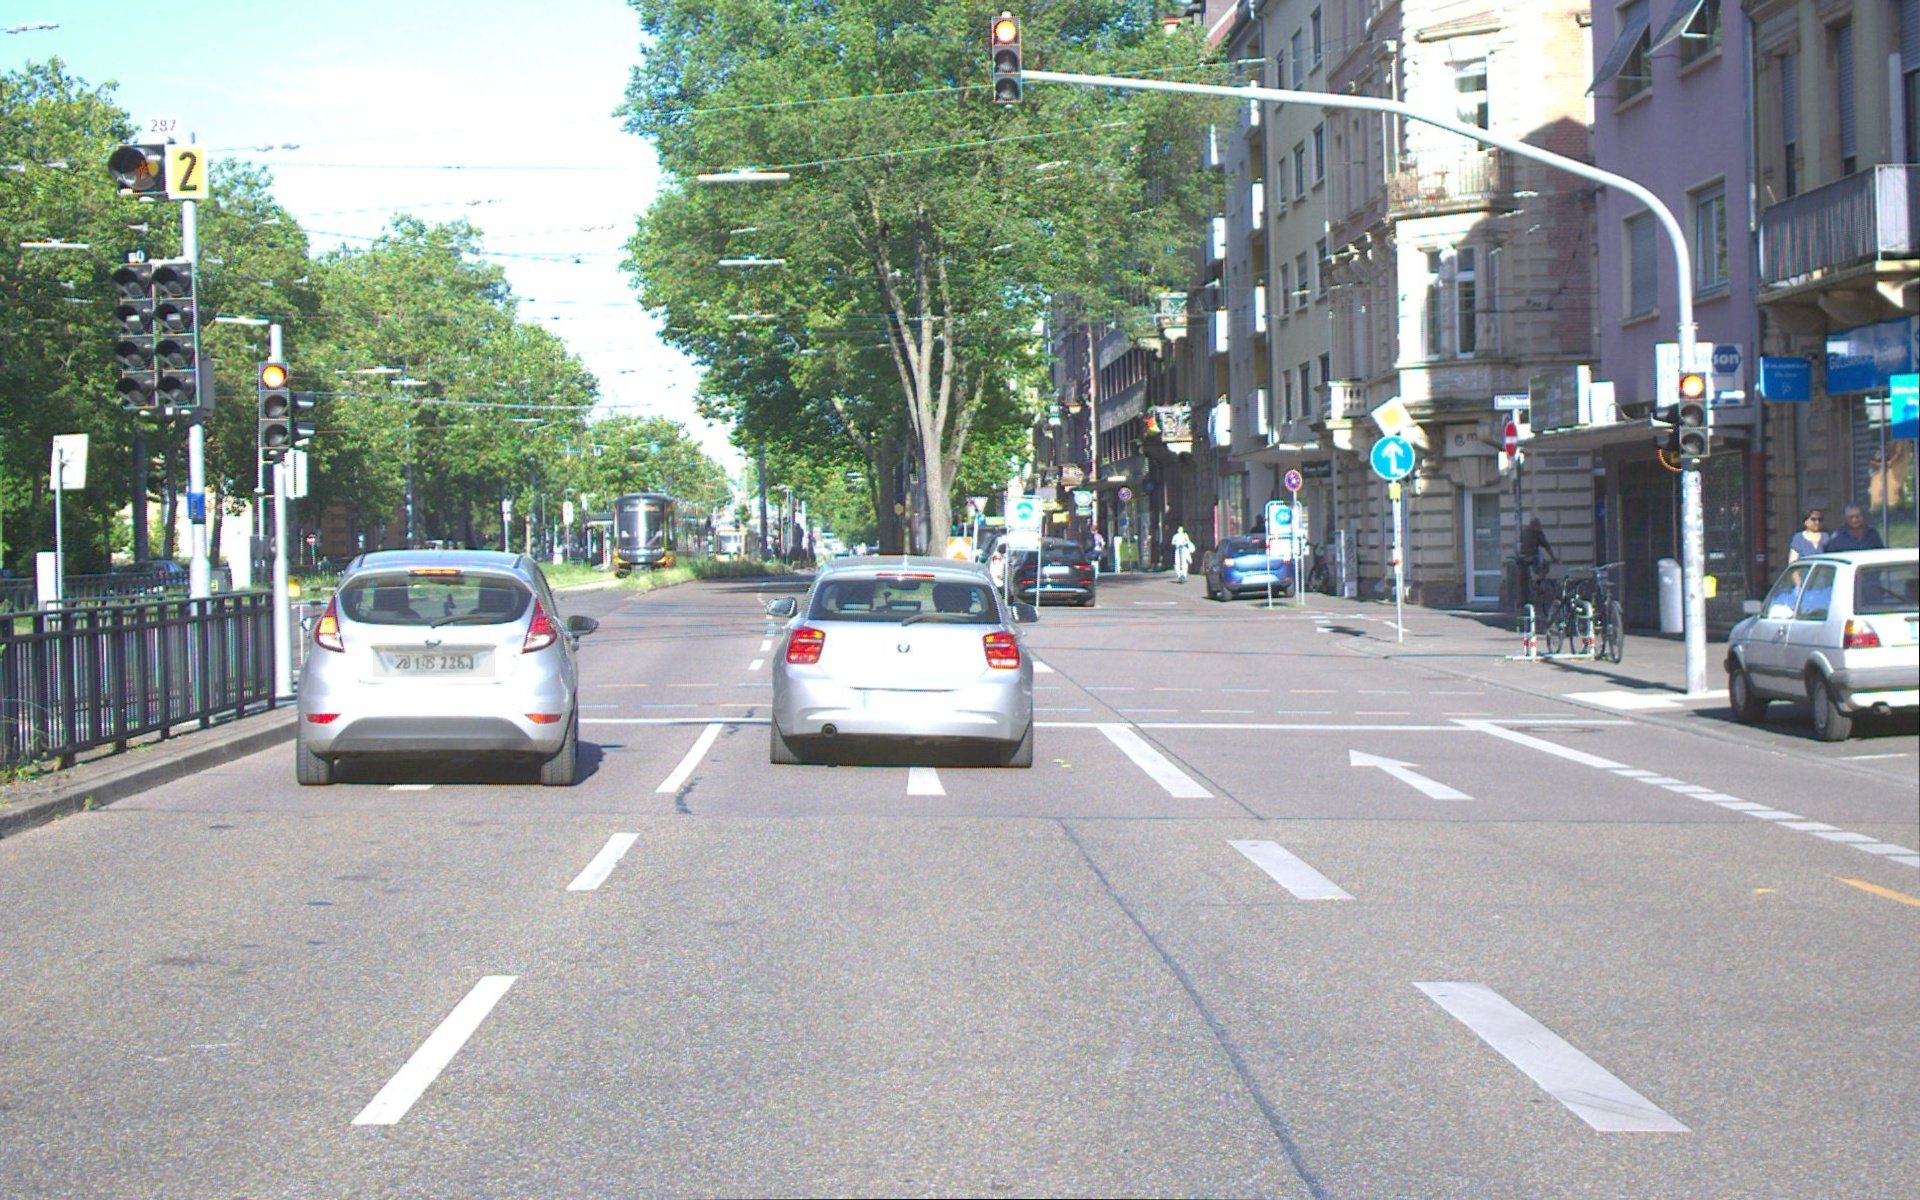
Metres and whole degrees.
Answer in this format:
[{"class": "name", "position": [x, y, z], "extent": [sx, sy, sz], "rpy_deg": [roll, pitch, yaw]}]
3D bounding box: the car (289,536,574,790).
[{"class": "car", "position": [-3.349, 0.337, 22.323], "extent": [1.609, 1.462, 3.891], "rpy_deg": [-1, 1, -6]}]

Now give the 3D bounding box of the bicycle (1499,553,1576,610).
[{"class": "bicycle", "position": [9.541, -0.314, 56.802], "extent": [0.654, 0.900, 1.335], "rpy_deg": [1, 2, 41]}]

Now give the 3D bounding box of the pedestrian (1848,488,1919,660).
[{"class": "pedestrian", "position": [9.957, -0.286, 36.835], "extent": [0.673, 1.800, 0.531], "rpy_deg": [-3, 1, -1]}]

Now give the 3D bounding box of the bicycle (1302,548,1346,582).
[{"class": "bicycle", "position": [8.594, -0.826, 81.286], "extent": [0.754, 0.768, 1.946], "rpy_deg": [-1, 1, -2]}]

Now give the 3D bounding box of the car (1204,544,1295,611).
[{"class": "car", "position": [6.801, -0.548, 81.033], "extent": [1.735, 1.514, 3.637], "rpy_deg": [0, 1, -2]}]

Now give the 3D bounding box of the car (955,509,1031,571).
[{"class": "car", "position": [0.798, -1.523, 86.405], "extent": [1.724, 1.501, 3.555], "rpy_deg": [0, 1, -2]}]

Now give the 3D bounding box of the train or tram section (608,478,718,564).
[{"class": "train or tram section", "position": [-14.076, -3.795, 164.569], "extent": [4.005, 3.852, 17.490], "rpy_deg": [0, 1, -1]}]

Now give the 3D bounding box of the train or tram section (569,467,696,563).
[{"class": "train or tram section", "position": [-13.848, -3.621, 147.077], "extent": [3.969, 3.852, 17.490], "rpy_deg": [0, 1, -1]}]

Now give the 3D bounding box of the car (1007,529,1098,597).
[{"class": "car", "position": [1.993, -0.825, 75.056], "extent": [1.735, 1.428, 3.678], "rpy_deg": [0, 1, -2]}]

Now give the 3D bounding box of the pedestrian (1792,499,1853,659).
[{"class": "pedestrian", "position": [9.260, -0.227, 36.926], "extent": [0.549, 1.702, 0.388], "rpy_deg": [-1, 1, 2]}]

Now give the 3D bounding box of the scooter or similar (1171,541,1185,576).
[{"class": "scooter or similar", "position": [6.351, -1.221, 100.205], "extent": [0.337, 0.984, 1.284], "rpy_deg": [-1, 2, 1]}]

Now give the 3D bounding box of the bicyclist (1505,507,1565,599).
[{"class": "bicyclist", "position": [9.504, -0.776, 56.798], "extent": [0.548, 1.497, 0.959], "rpy_deg": [0, 2, 41]}]

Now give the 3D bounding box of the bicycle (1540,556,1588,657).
[{"class": "bicycle", "position": [7.077, 0.063, 40.343], "extent": [0.414, 1.137, 1.809], "rpy_deg": [0, 1, 6]}]

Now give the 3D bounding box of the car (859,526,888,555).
[{"class": "car", "position": [-6.131, -4.242, 243.912], "extent": [1.993, 2.007, 4.000], "rpy_deg": [-1, 1, -1]}]

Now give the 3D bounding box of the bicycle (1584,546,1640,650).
[{"class": "bicycle", "position": [7.520, -0.037, 39.664], "extent": [0.448, 1.155, 1.758], "rpy_deg": [-1, 1, 5]}]

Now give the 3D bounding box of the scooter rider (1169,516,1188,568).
[{"class": "scooter rider", "position": [6.365, -1.682, 100.168], "extent": [0.465, 1.500, 0.811], "rpy_deg": [0, 0, 0]}]

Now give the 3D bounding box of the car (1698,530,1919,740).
[{"class": "car", "position": [7.122, 0.216, 27.199], "extent": [1.562, 1.411, 4.004], "rpy_deg": [-4, 1, -1]}]

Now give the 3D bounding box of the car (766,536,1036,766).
[{"class": "car", "position": [-0.422, 0.296, 24.407], "extent": [1.740, 1.462, 4.000], "rpy_deg": [1, 1, -1]}]
